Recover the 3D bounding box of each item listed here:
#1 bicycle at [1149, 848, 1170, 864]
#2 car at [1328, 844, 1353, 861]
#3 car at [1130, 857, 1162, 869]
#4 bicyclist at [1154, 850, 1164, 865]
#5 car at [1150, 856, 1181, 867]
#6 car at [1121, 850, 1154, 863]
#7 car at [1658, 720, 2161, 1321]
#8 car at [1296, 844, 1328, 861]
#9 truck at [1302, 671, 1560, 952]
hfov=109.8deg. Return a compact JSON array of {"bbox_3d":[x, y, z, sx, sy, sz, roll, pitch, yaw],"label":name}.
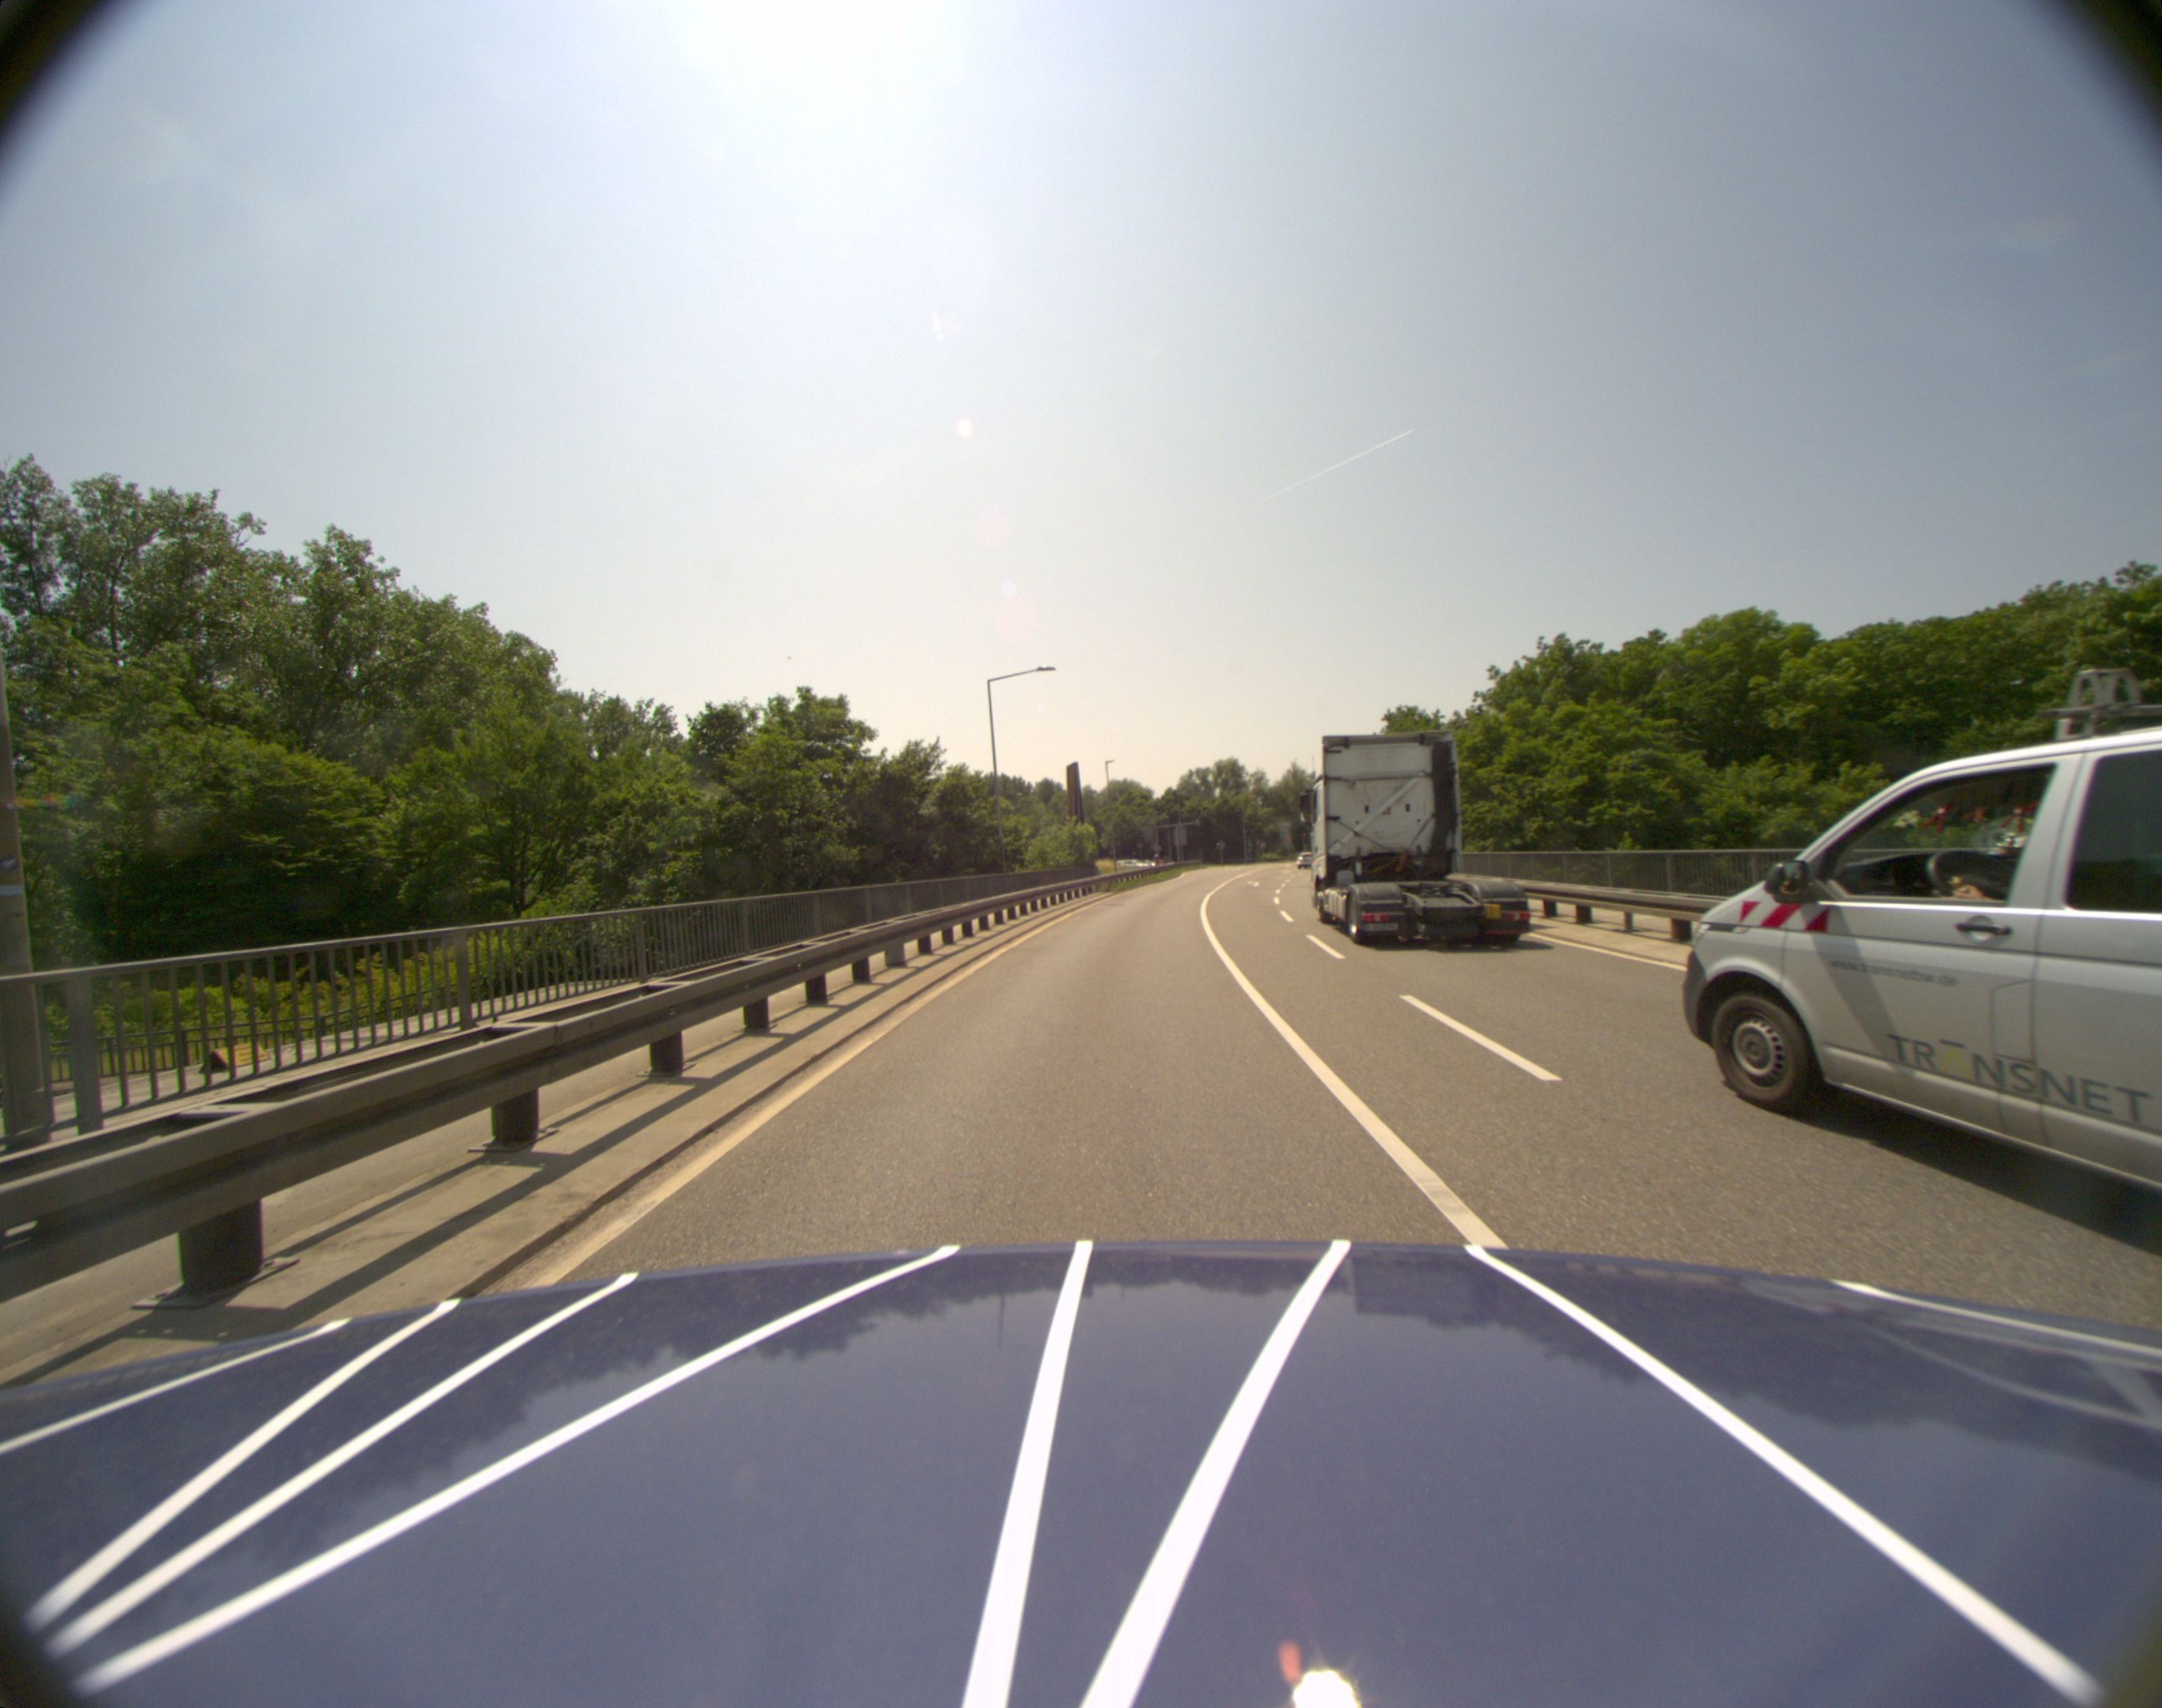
[{"bbox_3d":[8.117,0.178,78.411,0.657,1.565,2.368,-3,0,-38],"label":"bicycle"},{"bbox_3d":[26.751,-0.129,78.303,1.829,1.629,4.586,-1,0,26],"label":"car"},{"bbox_3d":[8.958,1.214,104.912,1.871,1.415,4.176,-3,0,-42],"label":"car"},{"bbox_3d":[8.046,0.359,78.530,0.672,1.589,0.690,-3,0,-38],"label":"bicyclist"},{"bbox_3d":[11.933,1.069,107.170,1.758,1.346,4.176,-3,0,-42],"label":"car"},{"bbox_3d":[7.605,0.357,101.993,1.871,1.497,4.286,-3,0,-42],"label":"car"},{"bbox_3d":[4.488,0.528,2.433,1.865,1.988,4.815,-2,0,4],"label":"car"},{"bbox_3d":[20.402,-0.135,66.954,1.829,1.398,4.896,-1,1,28],"label":"car"},{"bbox_3d":[5.909,-0.573,14.022,2.711,3.968,6.190,-1,0,9],"label":"truck"}]
